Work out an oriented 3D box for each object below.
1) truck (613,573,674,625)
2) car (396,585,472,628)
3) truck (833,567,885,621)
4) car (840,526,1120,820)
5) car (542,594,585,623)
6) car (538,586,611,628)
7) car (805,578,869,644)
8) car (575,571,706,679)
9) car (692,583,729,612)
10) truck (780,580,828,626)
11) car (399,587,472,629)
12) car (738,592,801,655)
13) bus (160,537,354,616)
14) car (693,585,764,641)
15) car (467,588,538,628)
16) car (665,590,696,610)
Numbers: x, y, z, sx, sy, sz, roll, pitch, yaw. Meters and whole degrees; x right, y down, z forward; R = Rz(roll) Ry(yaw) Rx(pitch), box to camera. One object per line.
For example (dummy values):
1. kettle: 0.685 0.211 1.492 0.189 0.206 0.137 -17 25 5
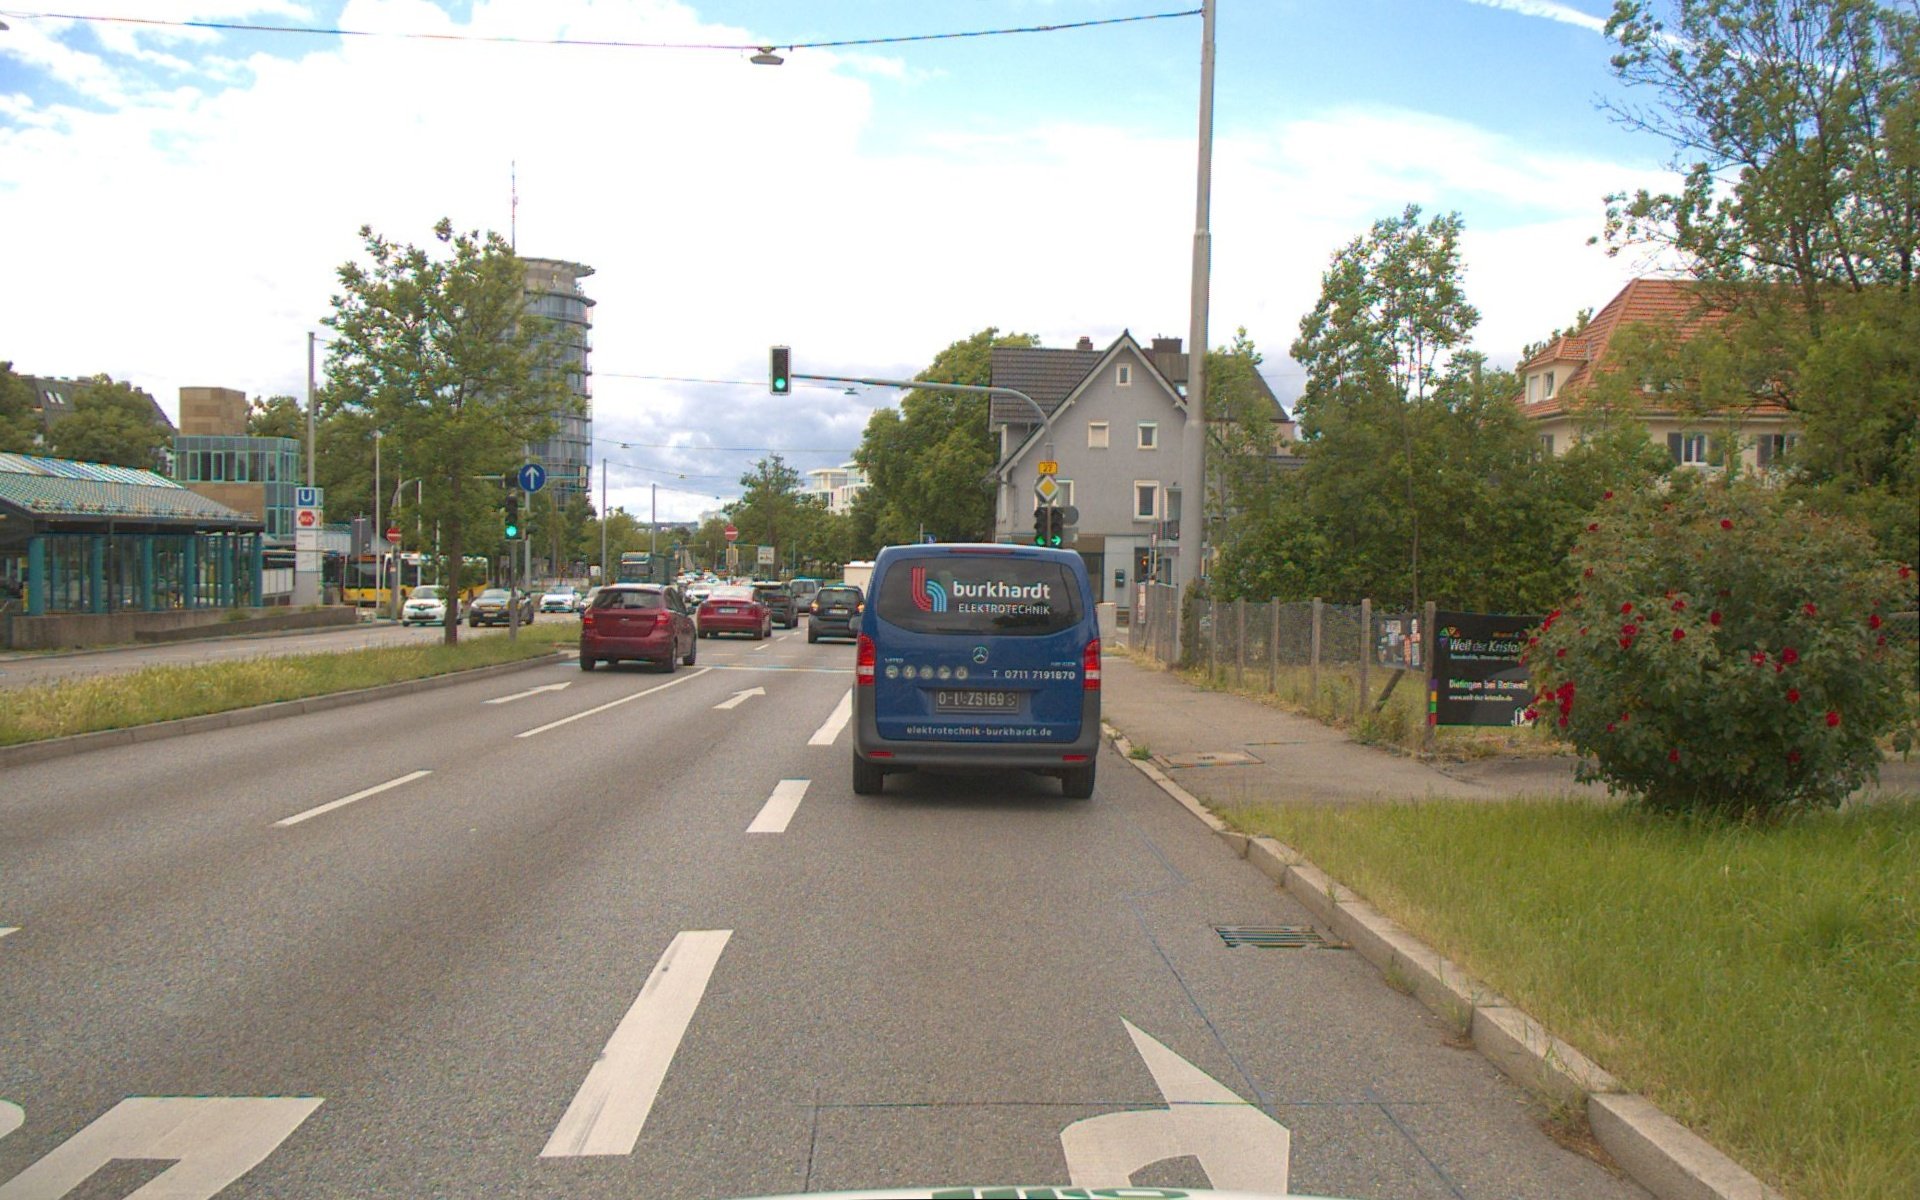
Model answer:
1. truck: -24.672 -0.058 129.356 3.302 3.792 11.270 1 0 -4
2. car: -20.324 0.226 64.017 1.712 1.544 3.999 -2 0 -2
3. truck: -4.321 -0.262 71.677 1.953 2.203 5.557 2 0 -1
4. car: 0.017 0.505 13.745 1.909 2.000 4.538 1 0 -3
5. car: -22.474 0.486 93.894 1.698 1.601 4.502 0 0 -5
6. car: -15.455 0.267 66.507 1.953 1.601 4.515 0 0 -1
7. car: -3.434 0.285 46.075 1.712 1.753 3.996 0 0 -5
8. car: -5.774 0.411 30.331 1.711 1.753 3.998 3 0 -3
9. car: -17.854 -0.208 118.514 1.952 2.049 4.180 0 0 1
10. truck: -7.881 0.135 84.021 1.953 2.203 5.557 2 0 -1
11. car: -20.314 0.297 64.203 1.591 1.601 3.999 0 0 -1
12. car: -6.877 0.809 59.329 1.957 2.048 3.991 2 1 -10
13. bus: -31.278 -0.953 74.425 2.895 3.188 12.164 1 0 3
14. car: -6.559 0.355 46.621 1.835 1.512 3.990 0 0 -10
15. car: -17.421 0.272 63.176 1.778 1.422 5.005 -1 0 -6
16. car: -20.518 0.019 121.428 1.761 1.442 3.998 0 0 -3
